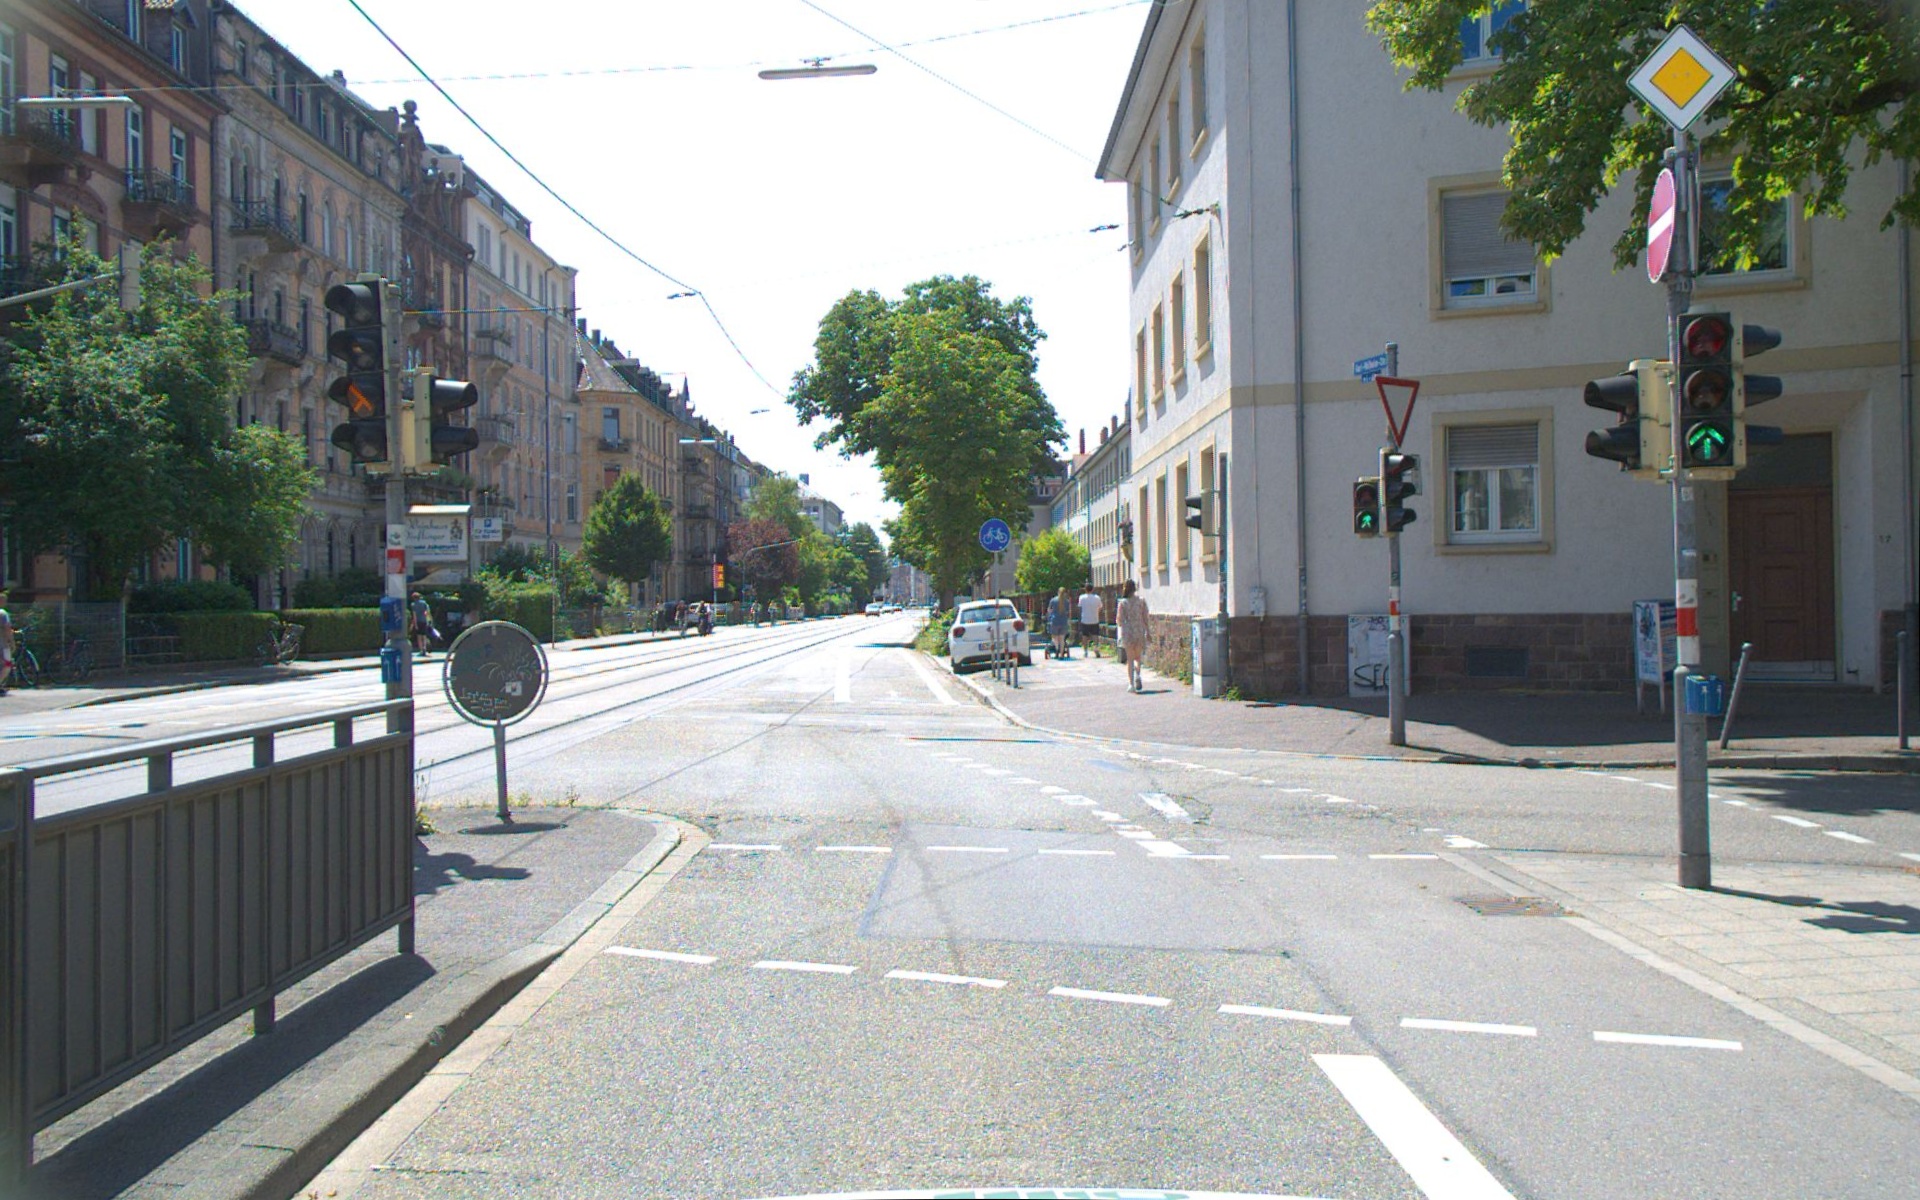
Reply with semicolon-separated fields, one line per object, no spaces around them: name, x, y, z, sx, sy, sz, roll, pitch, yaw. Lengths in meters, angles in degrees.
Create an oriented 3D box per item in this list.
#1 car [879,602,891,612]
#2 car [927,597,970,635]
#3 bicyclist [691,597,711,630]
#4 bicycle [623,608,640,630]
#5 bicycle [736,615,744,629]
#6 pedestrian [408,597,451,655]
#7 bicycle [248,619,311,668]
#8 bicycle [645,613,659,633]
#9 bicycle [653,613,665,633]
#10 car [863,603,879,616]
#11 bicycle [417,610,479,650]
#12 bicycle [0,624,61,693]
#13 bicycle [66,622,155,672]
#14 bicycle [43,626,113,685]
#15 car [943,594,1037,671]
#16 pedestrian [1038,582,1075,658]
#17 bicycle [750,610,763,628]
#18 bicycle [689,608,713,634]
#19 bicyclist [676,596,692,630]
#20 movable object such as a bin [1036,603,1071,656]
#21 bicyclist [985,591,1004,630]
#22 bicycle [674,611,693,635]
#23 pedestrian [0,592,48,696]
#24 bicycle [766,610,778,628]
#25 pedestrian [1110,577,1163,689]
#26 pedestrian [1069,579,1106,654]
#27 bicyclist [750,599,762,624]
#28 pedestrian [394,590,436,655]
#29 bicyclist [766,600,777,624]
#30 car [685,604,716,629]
car;-11.596;1.109;255.688;1.720;1.449;4.000;-2;0;0
car;-0.509;0.670;70.282;1.624;1.541;3.997;-1;0;-3
bicyclist;-12.996;0.663;83.057;0.791;1.658;0.980;-1;0;0
bicycle;-16.098;0.932;81.154;0.486;1.004;1.710;3;0;-2
bicycle;-16.405;1.605;123.433;0.445;1.021;1.805;-1;0;-4
pedestrian;-16.013;0.770;49.914;0.890;1.730;0.823;-1;0;26
bicycle;-16.278;1.024;39.619;0.625;1.112;1.932;1;0;3
bicycle;-16.066;1.189;86.297;0.430;1.000;1.710;-1;0;-2
bicycle;-16.072;1.215;88.338;0.430;1.000;1.710;-1;0;-2
car;-10.647;1.105;197.709;1.650;1.475;3.999;-1;0;-1
bicycle;-16.860;0.984;54.470;1.833;1.249;0.568;1;0;-4
bicycle;-17.008;1.037;29.852;0.561;1.189;1.716;-1;0;3
bicycle;-17.869;0.984;34.817;1.612;1.014;0.495;-1;0;1
bicycle;-17.046;1.058;32.006;0.450;1.074;1.565;-1;0;3
car;0.599;0.679;36.368;1.742;1.434;4.155;-5;0;-2
pedestrian;2.219;0.449;38.151;0.683;1.698;0.869;-4;0;-2
bicycle;-13.376;1.245;108.568;0.616;1.097;1.875;-2;0;-1
bicycle;-12.993;1.042;83.088;0.791;1.294;2.550;-1;0;0
bicyclist;-12.501;0.591;74.875;0.551;1.542;0.892;-1;0;0
movable object such as a bin;2.210;0.688;39.110;0.683;1.206;1.036;-4;0;-2
bicyclist;1.353;0.411;64.339;0.696;1.477;1.010;-1;0;1
bicycle;-12.497;1.036;74.848;0.556;1.056;1.829;-1;0;0
pedestrian;-16.321;0.742;28.248;0.853;1.730;1.014;-1;0;5
bicycle;-12.370;1.234;108.633;0.569;1.097;1.890;-2;0;-1
pedestrian;2.725;0.498;25.611;0.683;1.699;0.756;-1;0;-2
pedestrian;2.975;0.385;38.531;0.683;1.698;0.756;-4;0;-2
bicyclist;-13.393;0.757;108.458;0.621;1.612;1.028;-2;0;-1
pedestrian;-16.120;0.672;48.935;0.861;1.889;0.813;-1;0;39
bicyclist;-12.385;0.771;108.651;0.580;1.571;0.952;-2;0;-1
car;-17.911;1.130;114.358;1.829;1.628;4.097;0;0;-5
